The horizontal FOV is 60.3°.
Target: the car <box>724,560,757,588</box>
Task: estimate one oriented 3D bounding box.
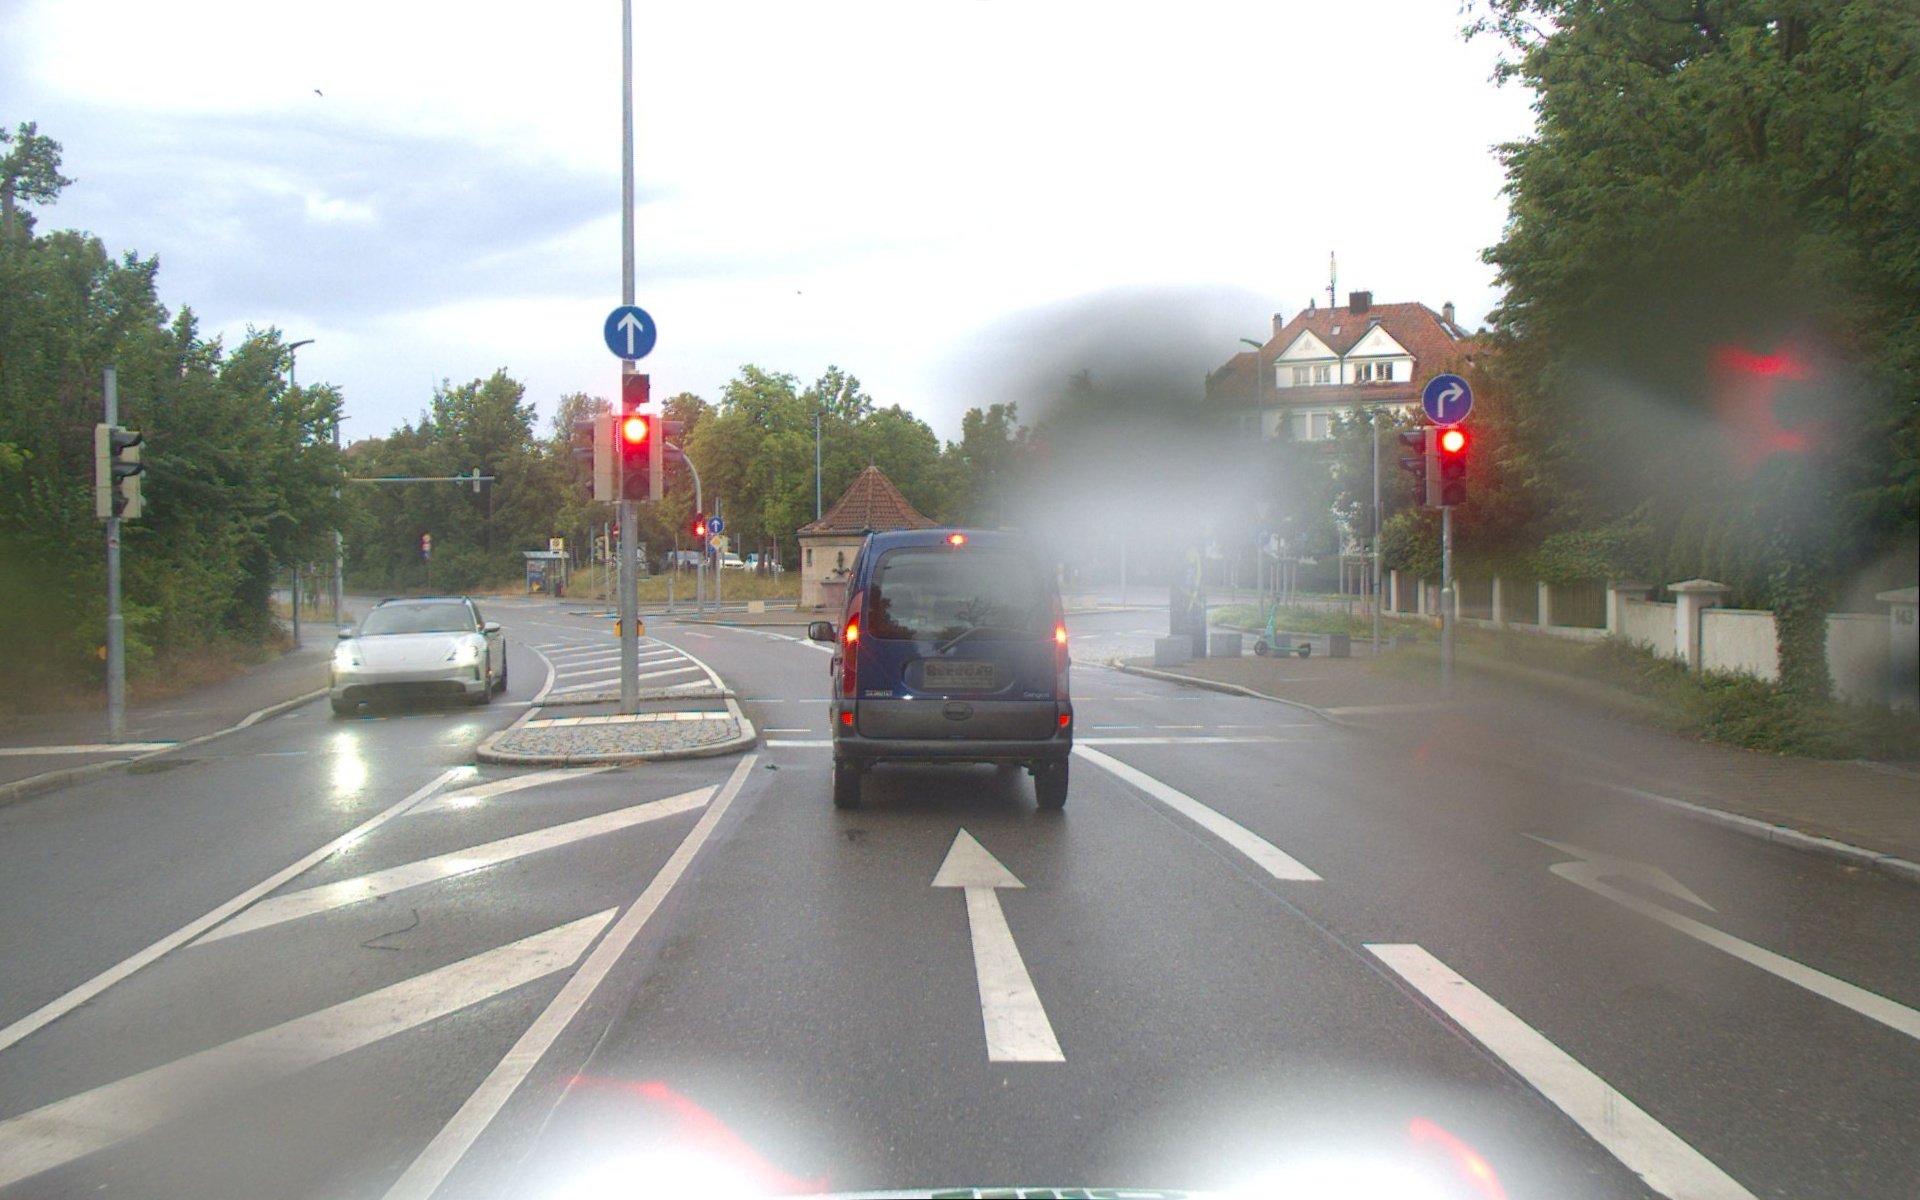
[{"bbox_3d":[-15.024,-1.784,113.532,1.954,1.844,3.997,0,0,-3],"label":"car"}]

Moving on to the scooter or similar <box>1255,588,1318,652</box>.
[{"bbox_3d":[6.382,0.396,32.341,1.126,1.240,0.405,0,-1,-2],"label":"scooter or similar"}]

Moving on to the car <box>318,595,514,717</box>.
[{"bbox_3d":[-7.261,0.673,22.486,1.959,1.334,4.347,-3,1,-12],"label":"car"}]

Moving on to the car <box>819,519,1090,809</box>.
[{"bbox_3d":[-0.146,0.376,12.386,1.697,1.817,3.998,0,1,-3],"label":"car"}]
